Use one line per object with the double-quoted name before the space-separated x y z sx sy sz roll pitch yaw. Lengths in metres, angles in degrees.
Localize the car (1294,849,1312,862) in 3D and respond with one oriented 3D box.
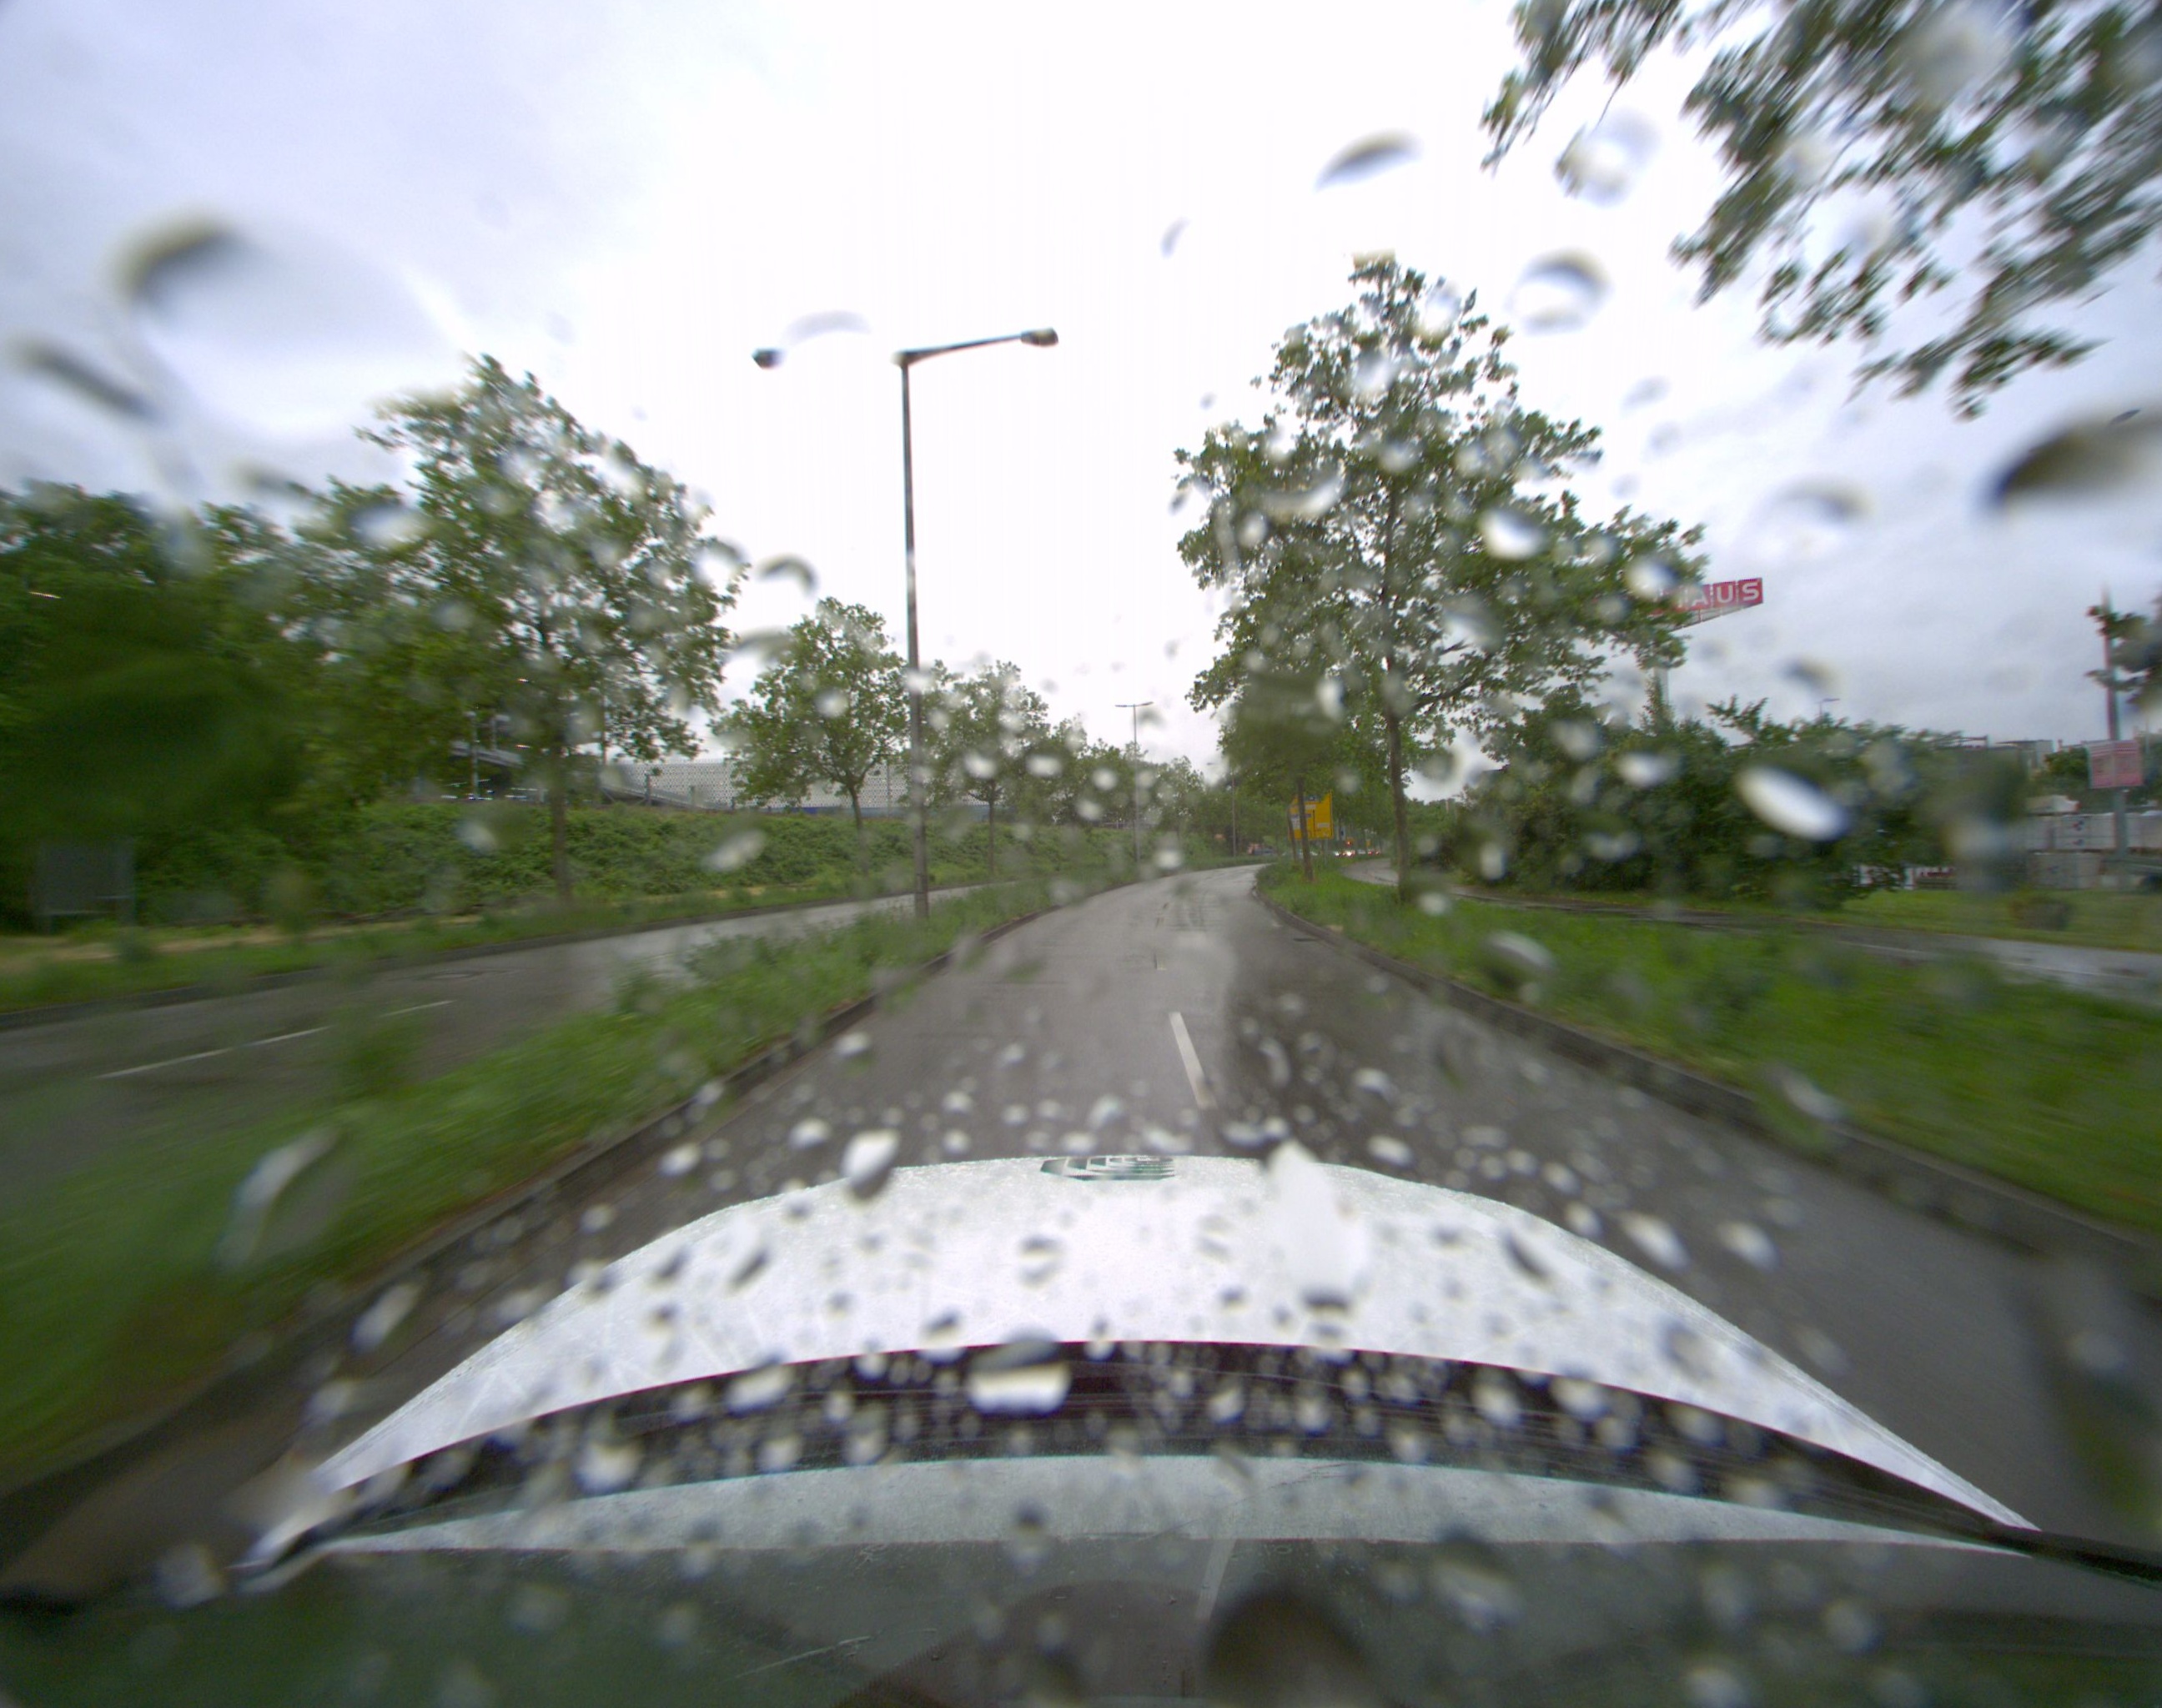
"car" 27.714 0.183 101.576 1.764 1.555 4.021 0 0 21
